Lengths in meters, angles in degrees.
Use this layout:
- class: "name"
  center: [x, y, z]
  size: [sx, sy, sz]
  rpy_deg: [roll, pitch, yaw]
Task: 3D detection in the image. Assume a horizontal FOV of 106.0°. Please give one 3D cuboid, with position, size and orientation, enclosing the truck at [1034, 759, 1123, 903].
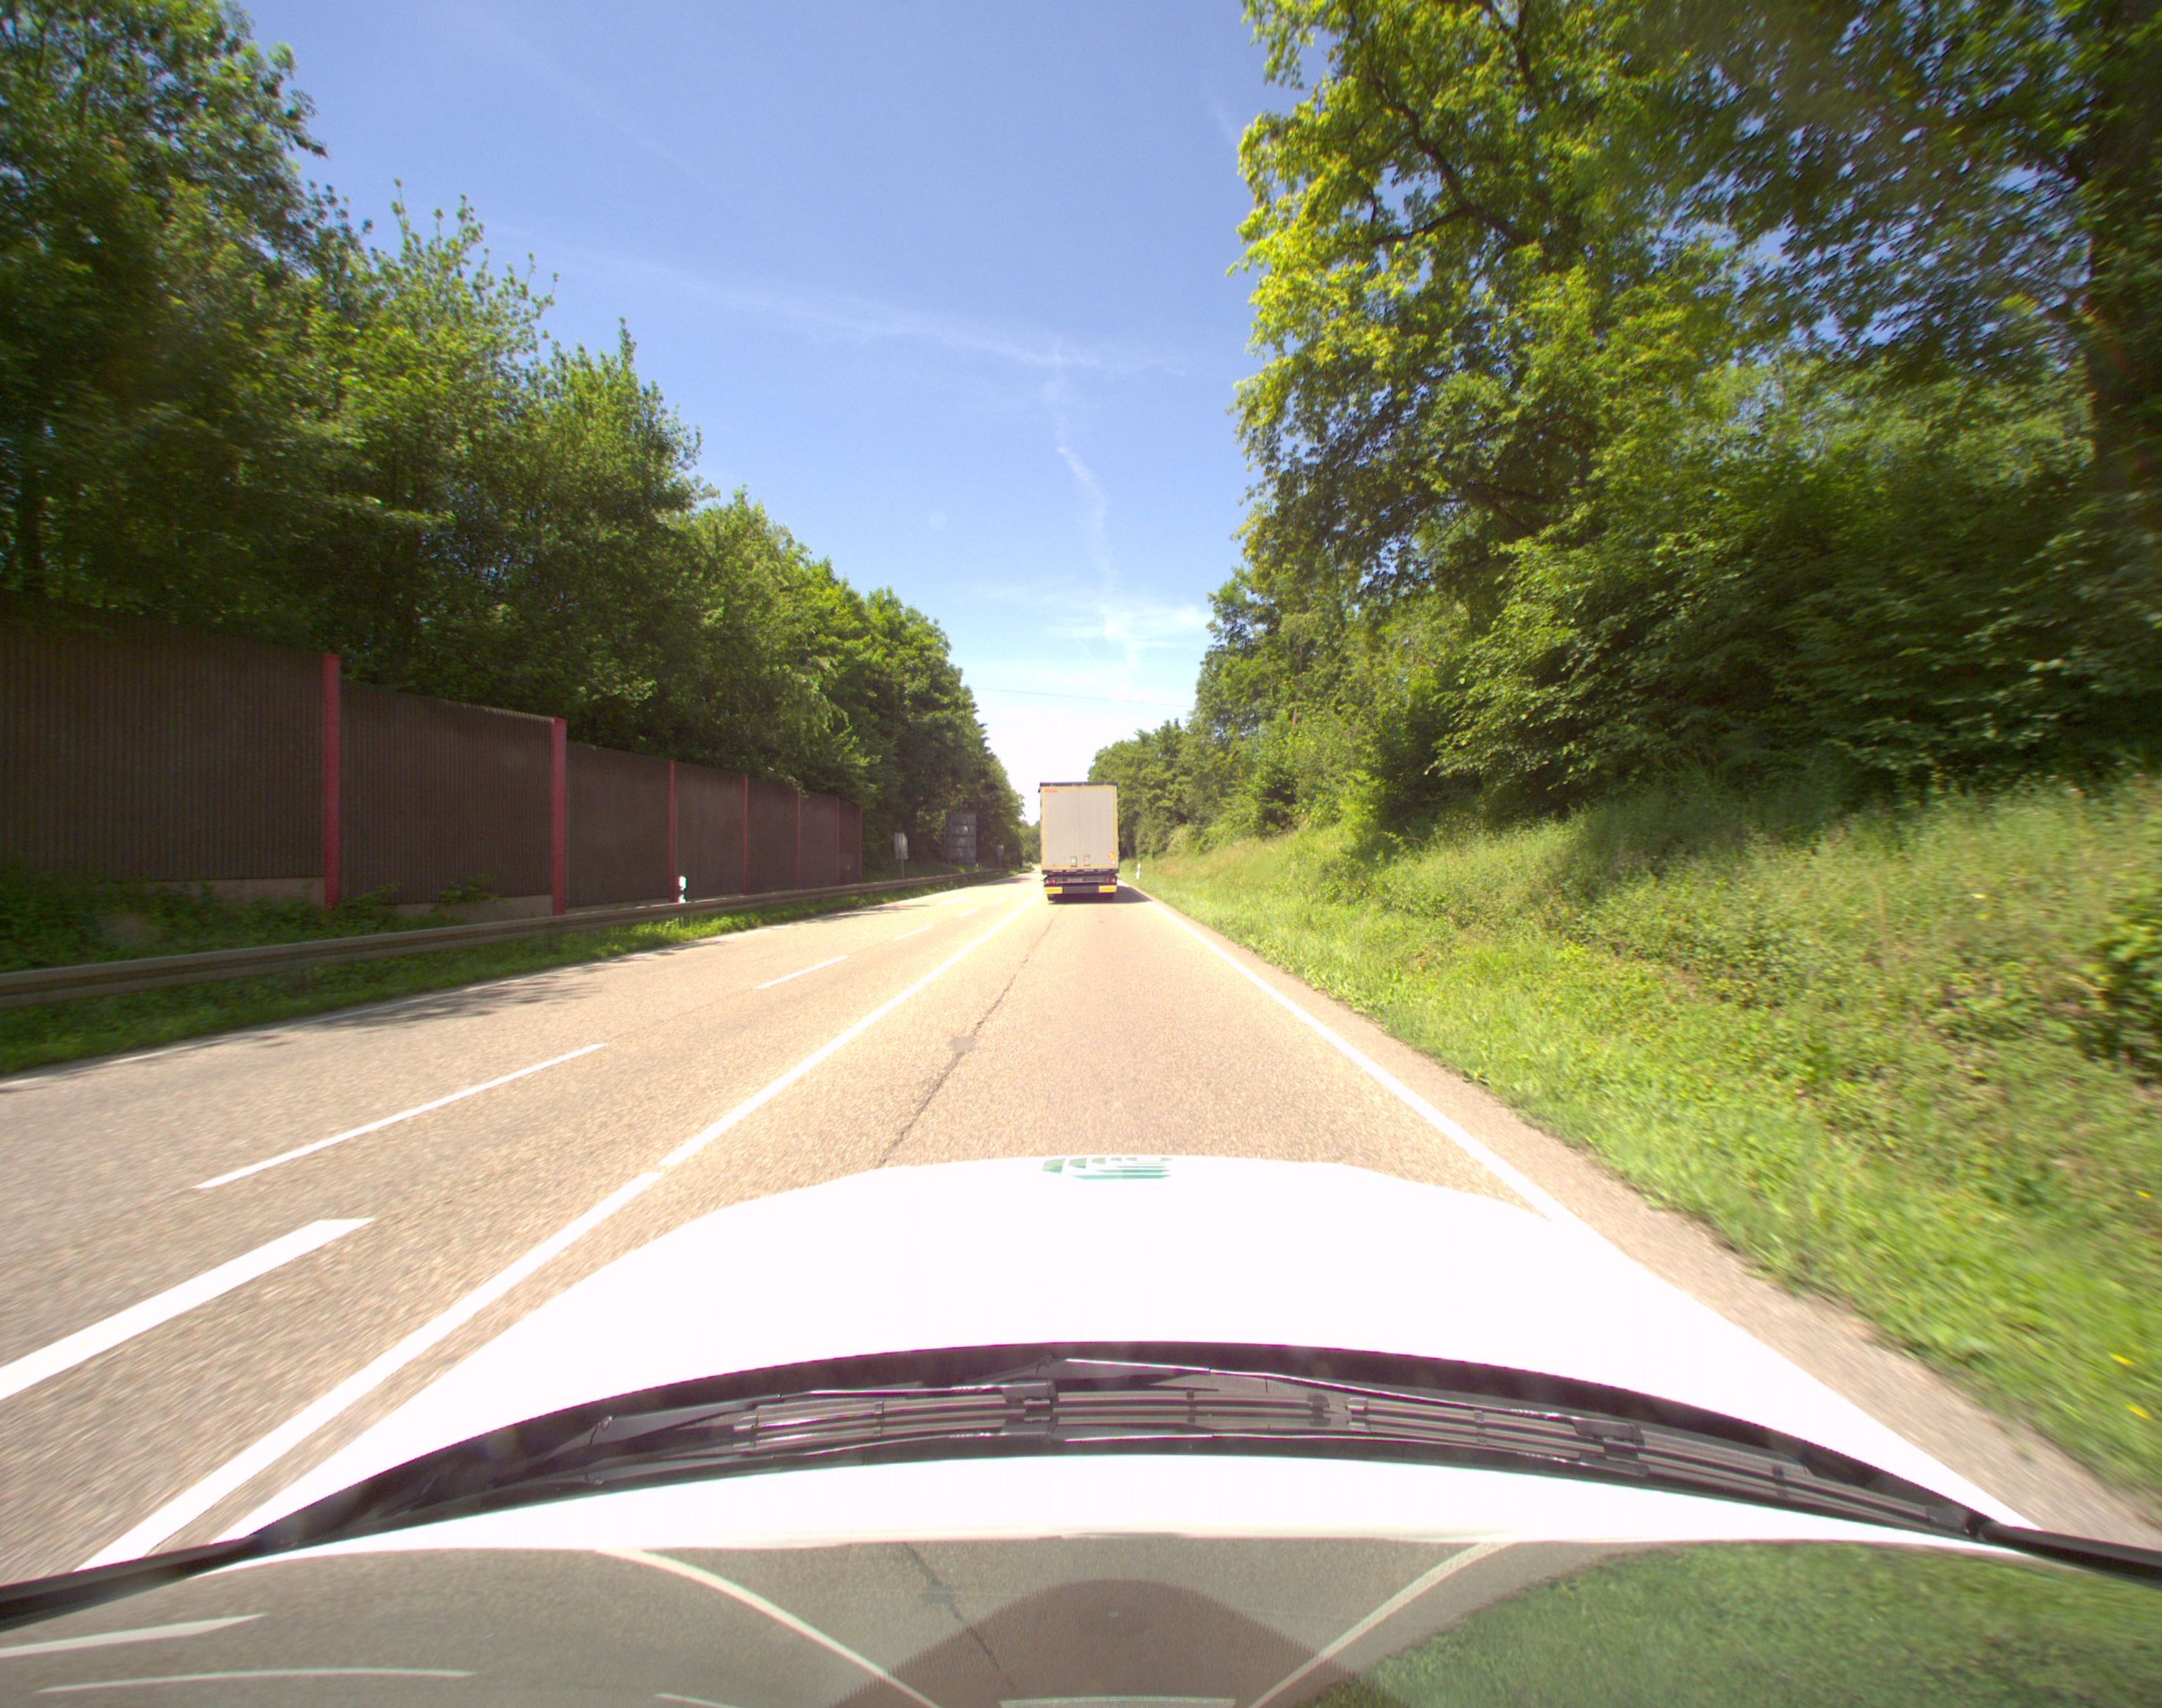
- class: "truck"
  center: [0.028, -0.781, 29.679]
  size: [2.812, 4.603, 6.668]
  rpy_deg: [-1, 1, 2]
